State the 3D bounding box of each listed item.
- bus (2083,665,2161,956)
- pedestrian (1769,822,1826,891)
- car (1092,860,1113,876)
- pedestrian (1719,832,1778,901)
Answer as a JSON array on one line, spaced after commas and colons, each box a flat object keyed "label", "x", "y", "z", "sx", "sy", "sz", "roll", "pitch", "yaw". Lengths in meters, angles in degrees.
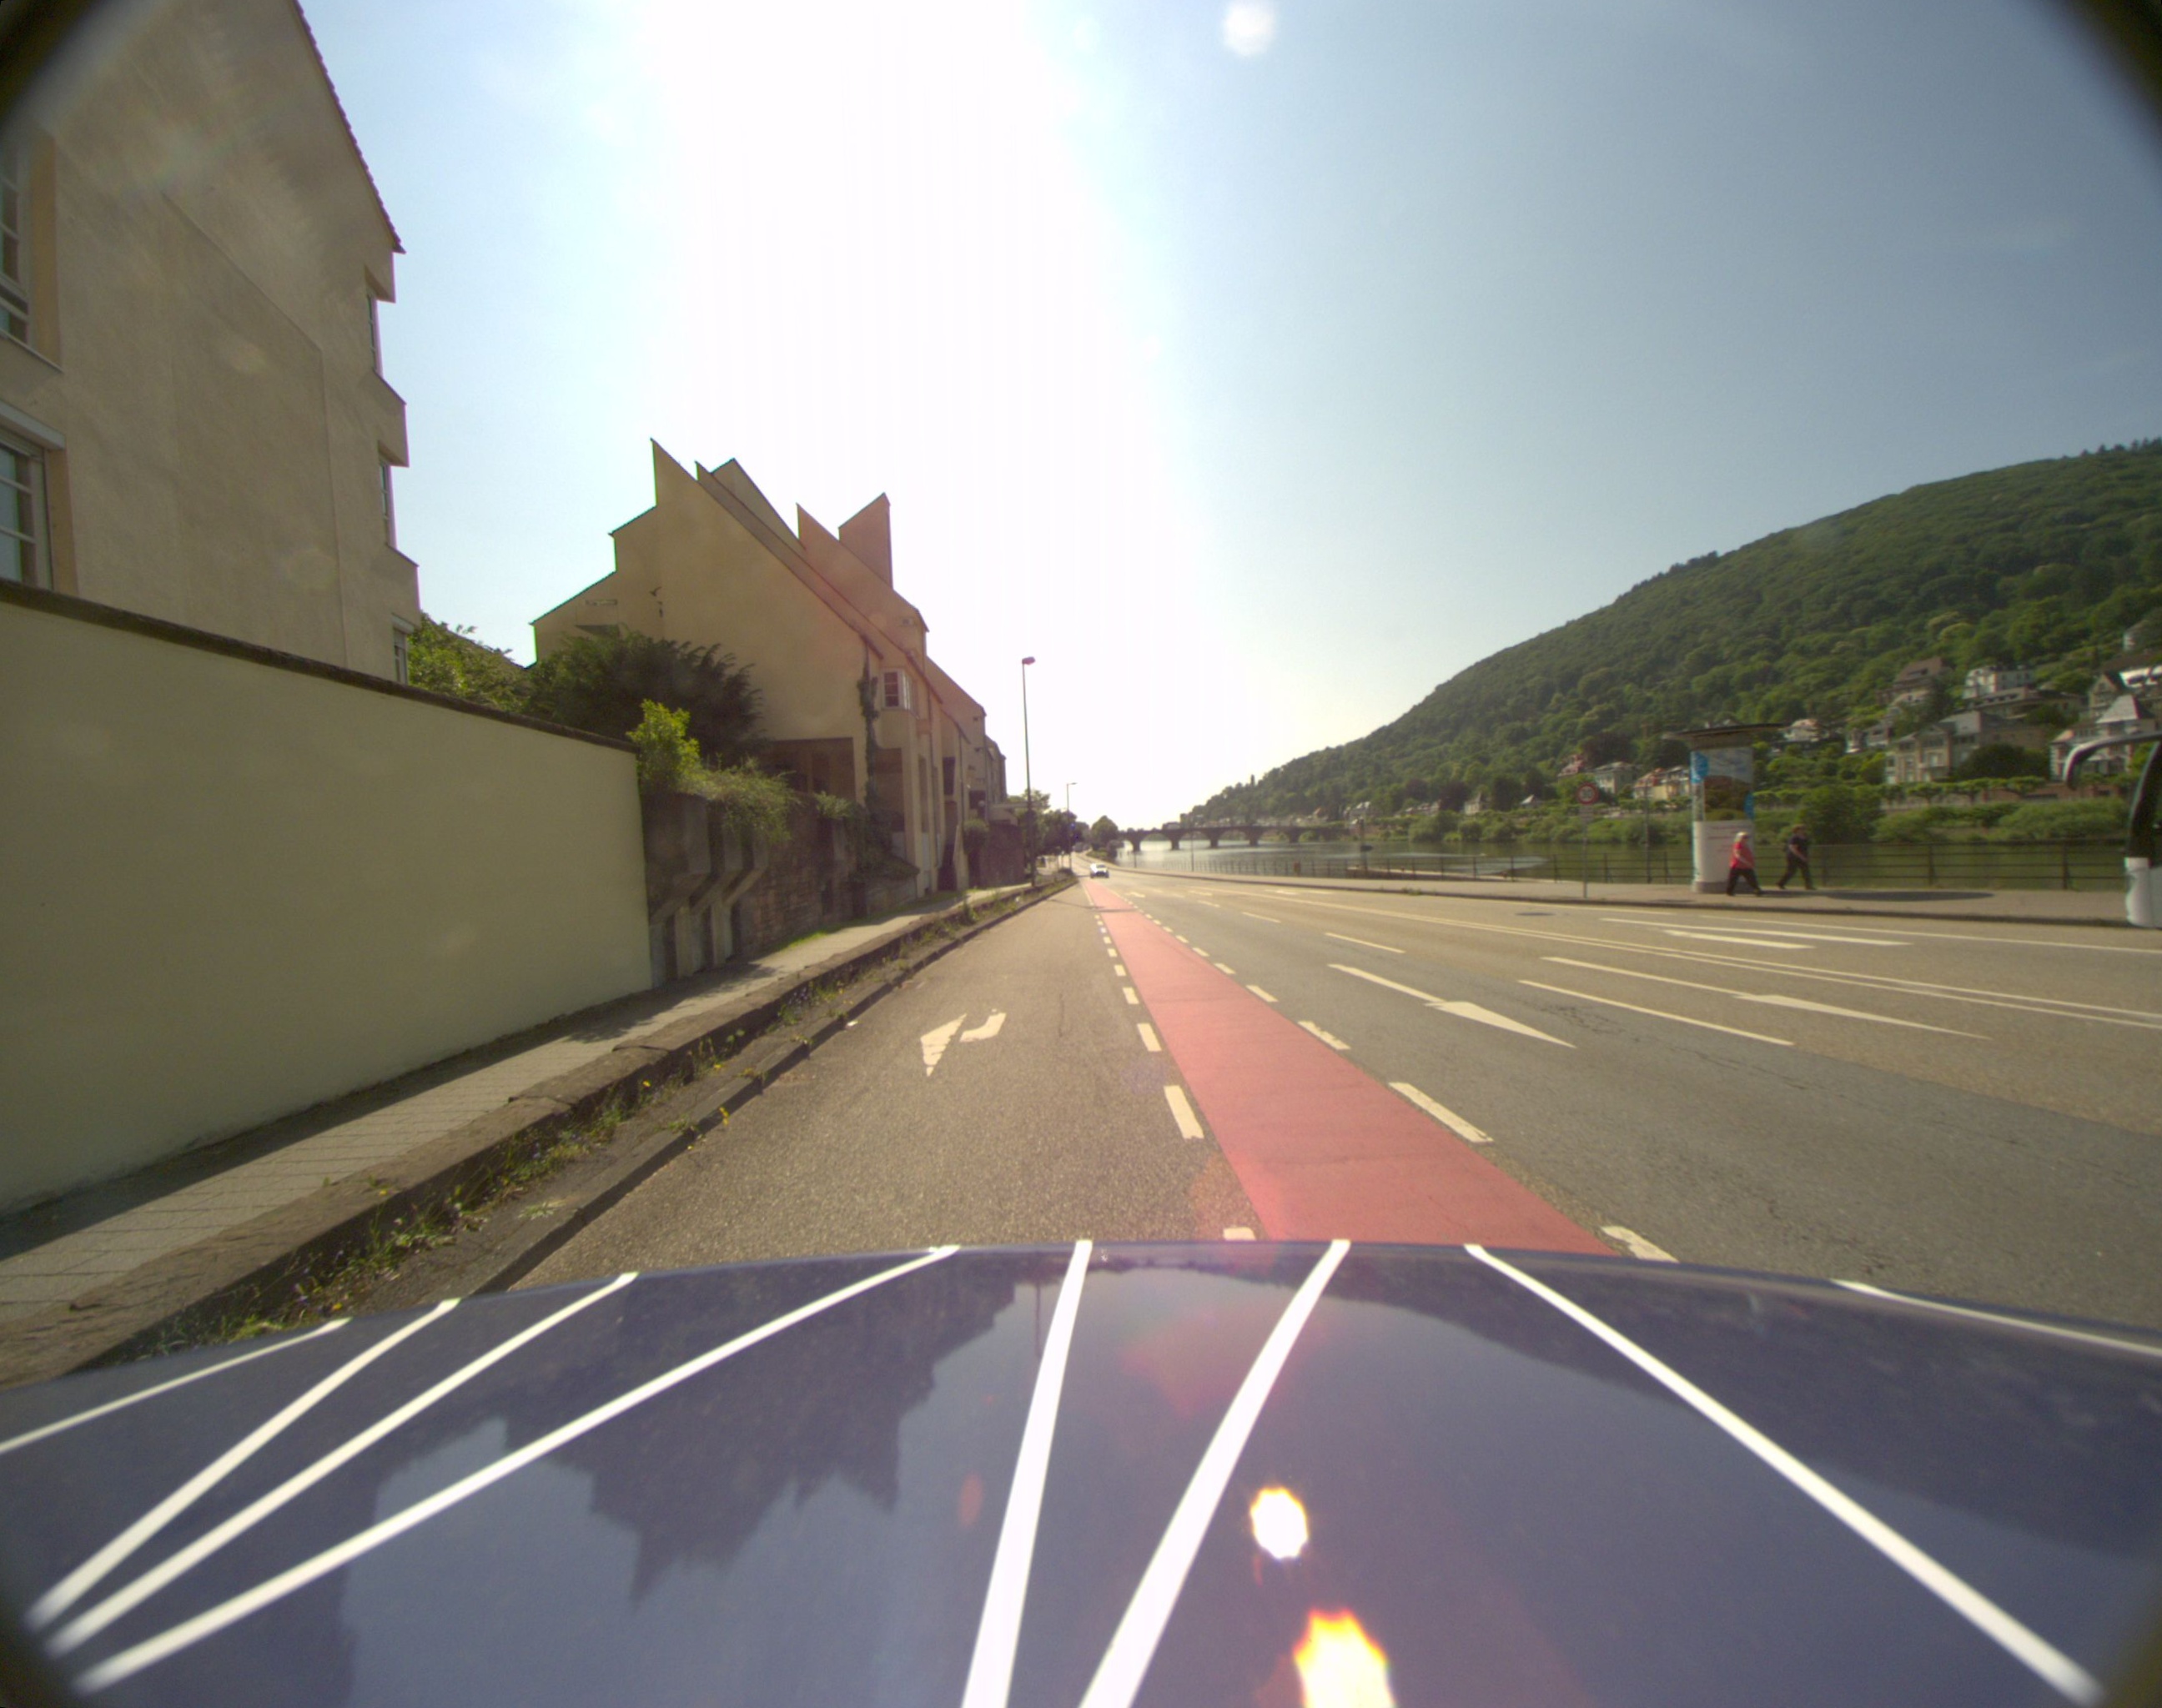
[{"label": "bus", "x": 16.348, "y": -0.732, "z": 4.152, "sx": 2.966, "sy": 3.778, "sz": 13.235, "roll": -5, "pitch": 0, "yaw": -8}, {"label": "pedestrian", "x": 18.025, "y": 0.060, "z": 19.124, "sx": 0.685, "sy": 1.699, "sz": 0.772, "roll": -2, "pitch": 1, "yaw": -17}, {"label": "car", "x": 2.165, "y": 1.386, "z": 75.413, "sx": 1.998, "sy": 1.433, "sz": 4.001, "roll": -1, "pitch": 0, "yaw": 2}, {"label": "pedestrian", "x": 16.279, "y": 0.304, "z": 18.543, "sx": 0.705, "sy": 1.612, "sz": 0.816, "roll": -2, "pitch": 1, "yaw": -13}]
